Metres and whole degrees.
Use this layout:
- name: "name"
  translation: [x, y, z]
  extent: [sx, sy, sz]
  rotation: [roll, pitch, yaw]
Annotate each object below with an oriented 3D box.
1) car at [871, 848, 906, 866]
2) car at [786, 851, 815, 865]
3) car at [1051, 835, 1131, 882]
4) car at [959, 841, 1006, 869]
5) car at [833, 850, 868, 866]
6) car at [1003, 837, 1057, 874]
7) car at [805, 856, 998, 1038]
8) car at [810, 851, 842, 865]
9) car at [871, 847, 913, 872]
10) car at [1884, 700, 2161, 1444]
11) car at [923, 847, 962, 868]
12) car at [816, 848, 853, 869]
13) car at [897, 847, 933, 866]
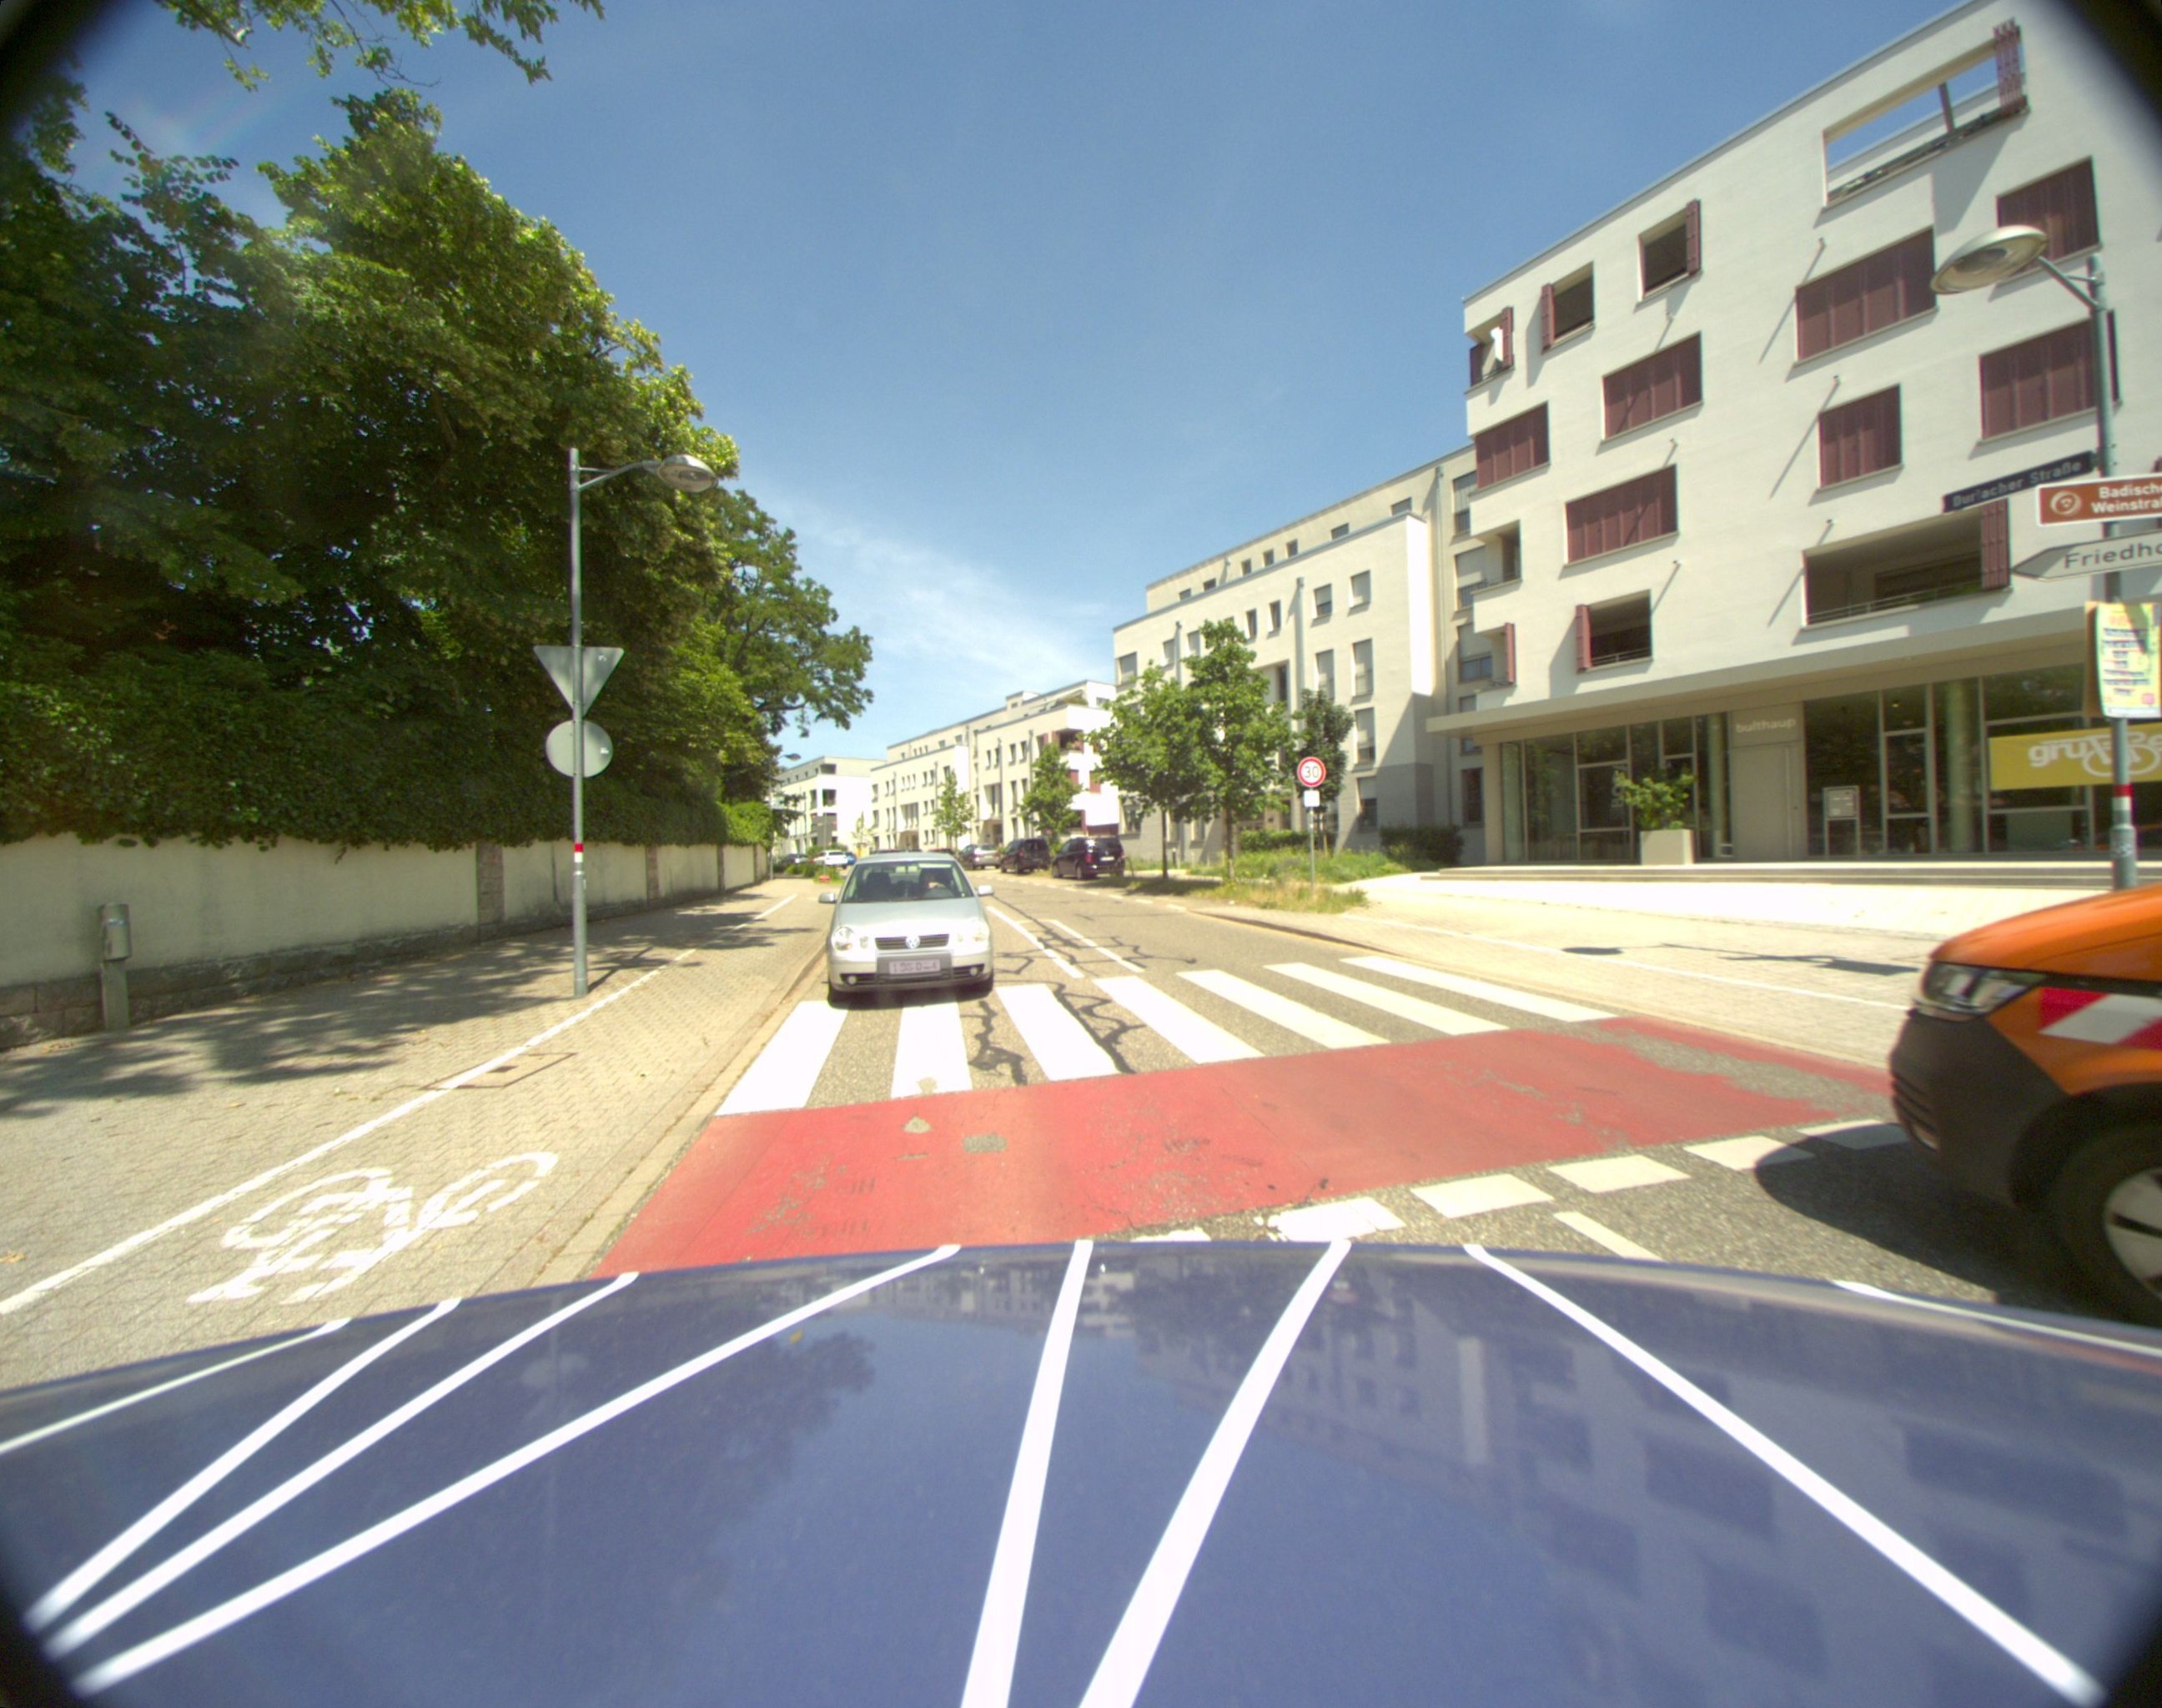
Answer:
- name: "car"
  translation: [-16.450, 0.241, 64.839]
  extent: [1.710, 1.405, 3.712]
  rotation: [-3, 2, -32]
- name: "car"
  translation: [-30.319, 0.418, 82.132]
  extent: [1.710, 1.405, 3.711]
  rotation: [-3, 2, -41]
- name: "car"
  translation: [0.307, 0.123, 29.354]
  extent: [1.701, 1.628, 4.013]
  rotation: [-2, 2, -20]
- name: "car"
  translation: [-6.087, 0.018, 46.495]
  extent: [1.793, 1.581, 3.619]
  rotation: [-3, 2, -25]
- name: "car"
  translation: [-22.212, 0.354, 73.176]
  extent: [1.710, 1.405, 3.711]
  rotation: [-3, 2, -41]
- name: "car"
  translation: [-2.578, 0.033, 37.655]
  extent: [1.701, 1.691, 3.620]
  rotation: [-3, 2, -20]
- name: "car"
  translation: [-1.978, 0.817, 8.706]
  extent: [1.609, 1.443, 3.995]
  rotation: [-2, 1, -12]
- name: "car"
  translation: [-25.996, 0.396, 77.358]
  extent: [1.710, 1.405, 3.711]
  rotation: [-3, 2, -41]
- name: "car"
  translation: [-12.617, 0.339, 50.548]
  extent: [1.759, 1.496, 3.983]
  rotation: [-3, 1, -28]
- name: "car"
  translation: [4.416, 0.538, 0.471]
  extent: [1.952, 1.948, 5.011]
  rotation: [-4, 2, -21]
- name: "car"
  translation: [-9.881, 0.211, 53.901]
  extent: [1.709, 1.405, 3.619]
  rotation: [-3, 2, -27]
- name: "car"
  translation: [-20.602, 0.332, 63.411]
  extent: [1.819, 1.599, 4.109]
  rotation: [-3, 2, -35]
- name: "car"
  translation: [-13.029, 0.174, 59.525]
  extent: [1.709, 1.405, 3.712]
  rotation: [-3, 2, -30]
